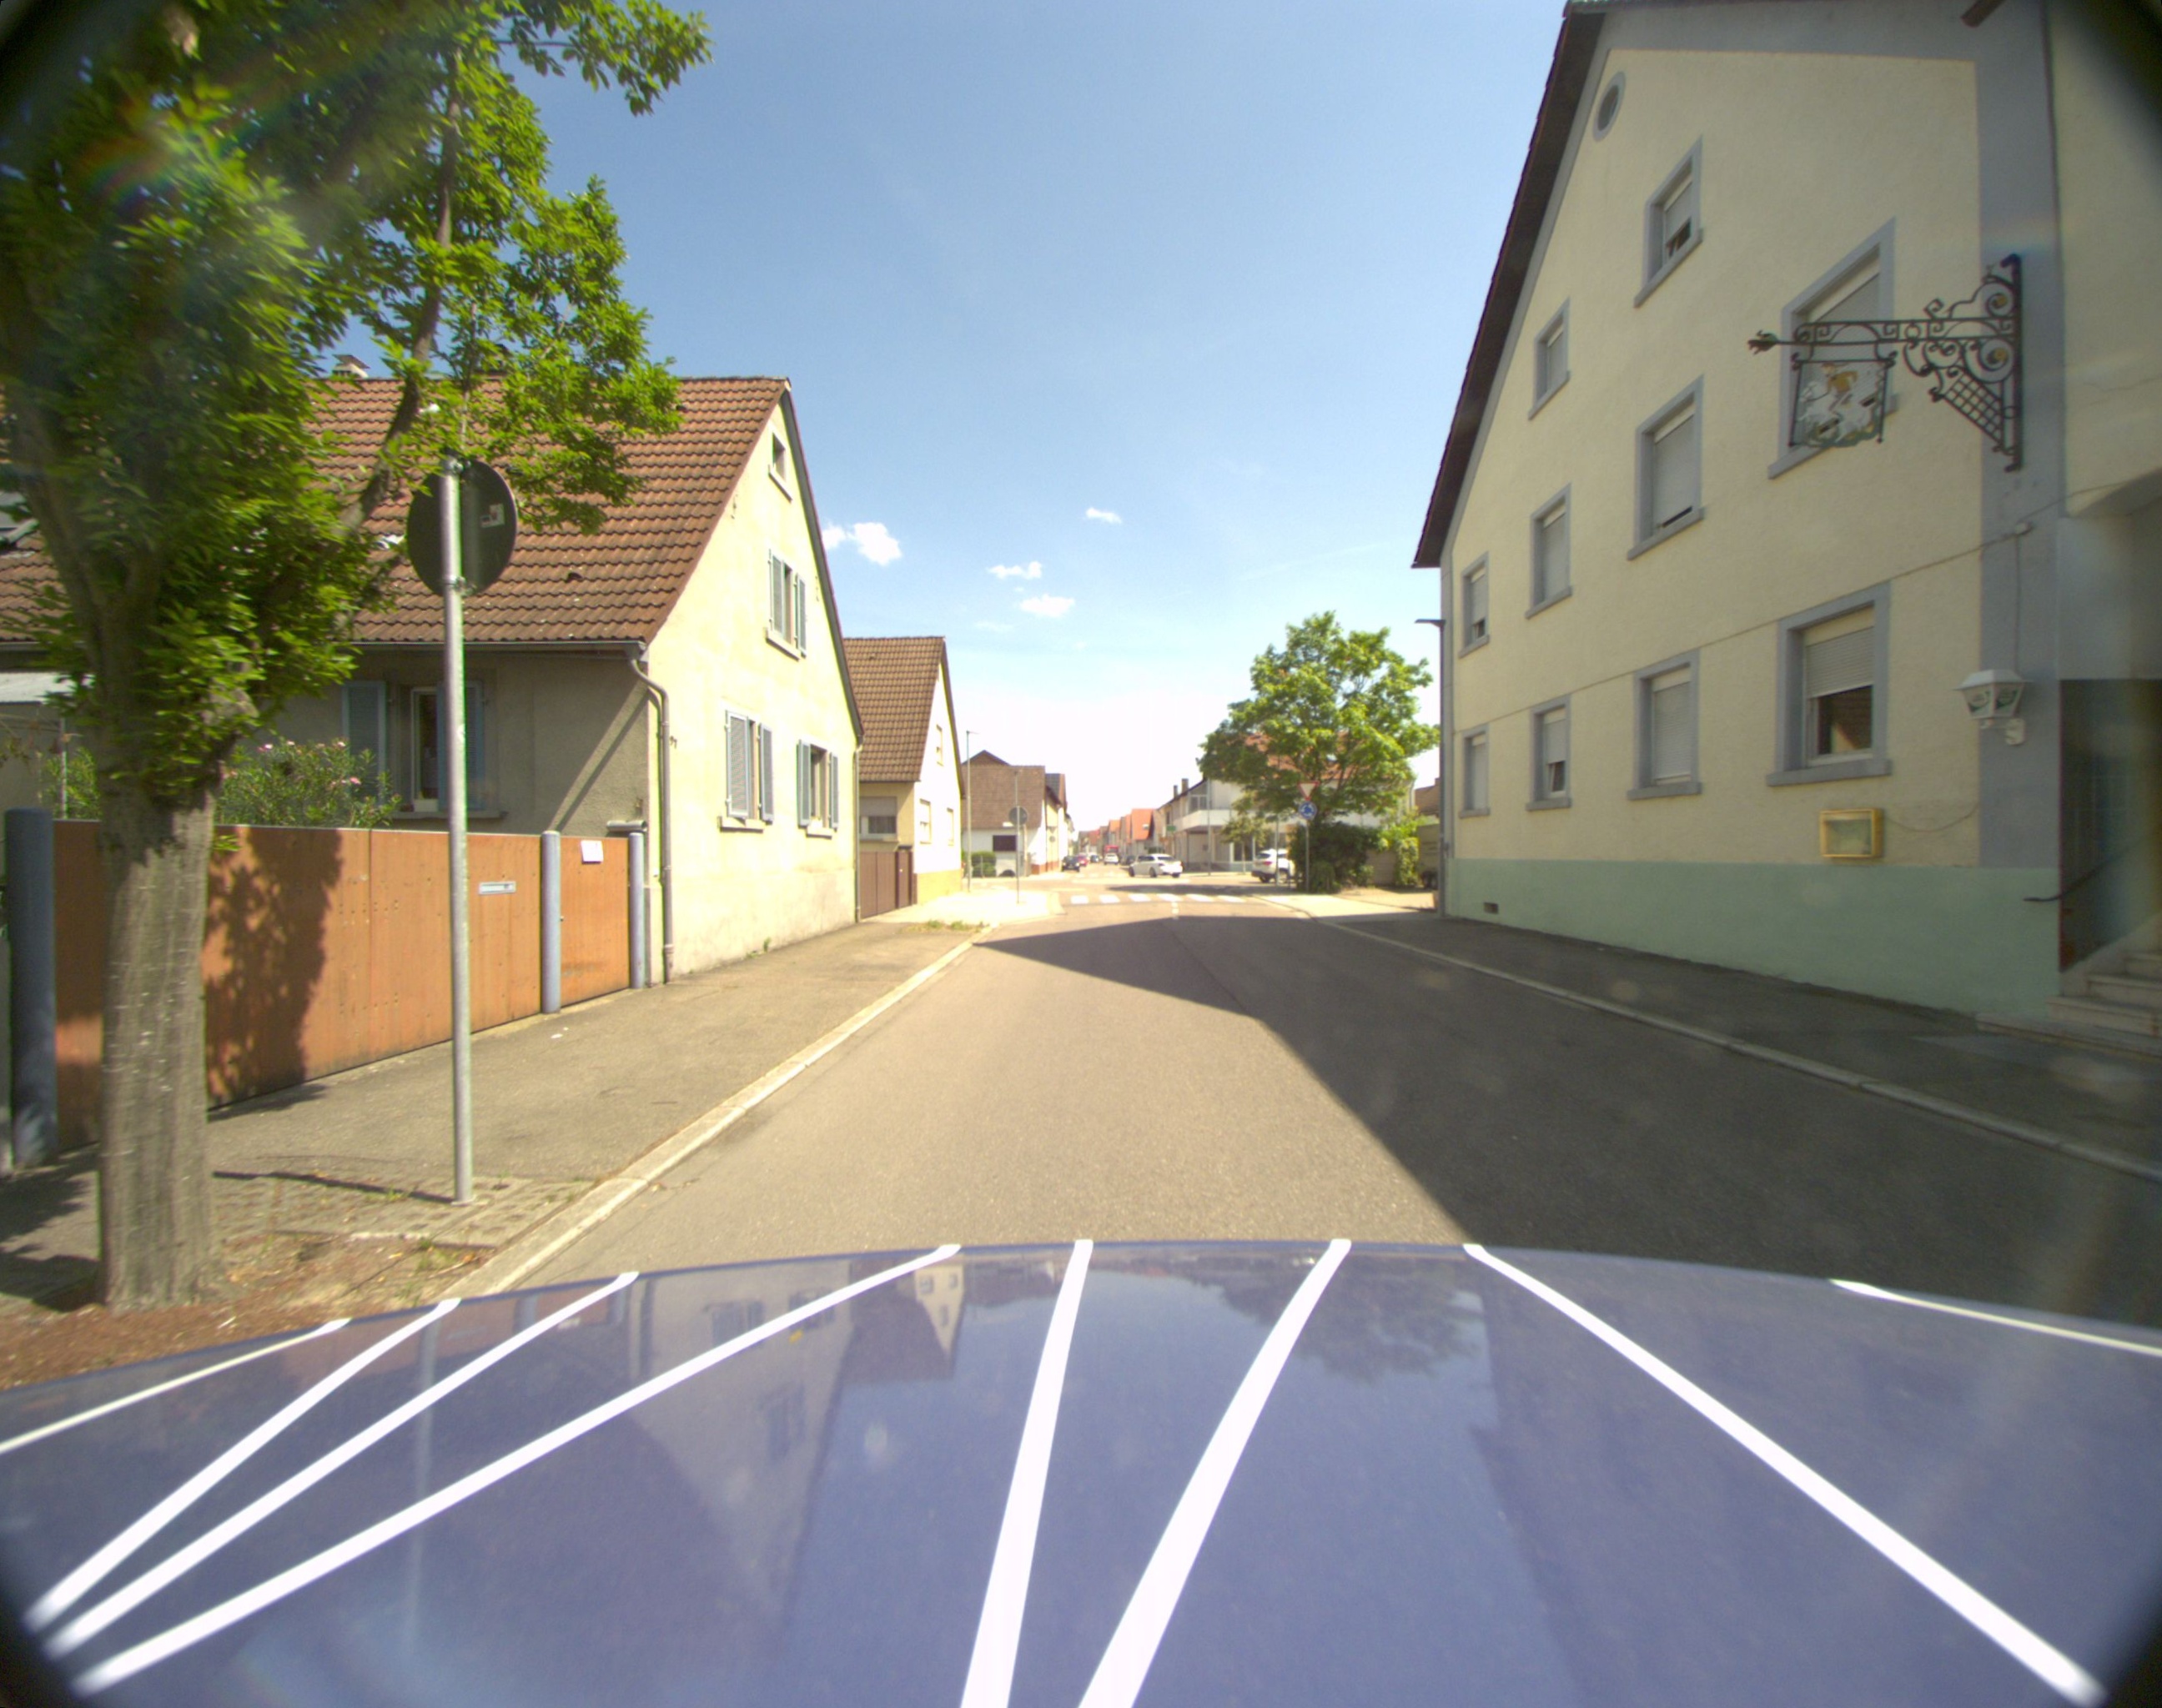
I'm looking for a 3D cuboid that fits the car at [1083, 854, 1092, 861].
[{"bbox_3d":[1.347,0.735,157.009,1.598,1.385,4.167,-1,0,-2],"label":"car"}]

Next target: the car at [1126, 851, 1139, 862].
[{"bbox_3d":[7.173,0.429,105.775,1.726,1.385,4.171,-1,-2,3],"label":"car"}]

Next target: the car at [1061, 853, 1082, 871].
[{"bbox_3d":[-0.790,0.702,65.927,1.598,1.385,4.170,-1,-2,2],"label":"car"}]

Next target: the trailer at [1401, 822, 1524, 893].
[{"bbox_3d":[13.223,0.106,26.667,2.179,2.266,4.226,-1,0,0],"label":"trailer"}]

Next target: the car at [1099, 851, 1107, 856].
[{"bbox_3d":[5.789,-0.176,203.887,1.727,1.385,4.167,-1,0,-3],"label":"car"}]

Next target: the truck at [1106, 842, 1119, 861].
[{"bbox_3d":[5.952,-0.472,144.226,1.999,3.420,7.074,-2,1,-1],"label":"truck"}]

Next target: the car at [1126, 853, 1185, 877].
[{"bbox_3d":[4.504,0.644,46.630,1.601,1.385,4.159,-2,1,-27],"label":"car"}]

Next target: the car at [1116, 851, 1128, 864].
[{"bbox_3d":[6.887,0.518,128.655,1.727,2.097,4.168,-1,0,-1],"label":"car"}]

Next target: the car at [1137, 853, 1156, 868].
[{"bbox_3d":[6.583,0.650,76.757,1.726,1.385,4.171,-1,-2,3],"label":"car"}]

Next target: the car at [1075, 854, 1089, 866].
[{"bbox_3d":[0.112,0.799,95.309,1.598,1.385,4.170,-1,-2,2],"label":"car"}]

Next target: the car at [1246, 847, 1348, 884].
[{"bbox_3d":[10.447,0.529,36.864,4.449,1.609,1.806,-1,1,-14],"label":"car"}]

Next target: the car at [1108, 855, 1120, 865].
[{"bbox_3d":[4.752,0.878,109.597,1.726,1.385,4.171,-1,-2,3],"label":"car"}]

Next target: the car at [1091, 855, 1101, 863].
[{"bbox_3d":[2.579,0.865,131.601,1.598,1.385,4.168,-1,0,1],"label":"car"}]
